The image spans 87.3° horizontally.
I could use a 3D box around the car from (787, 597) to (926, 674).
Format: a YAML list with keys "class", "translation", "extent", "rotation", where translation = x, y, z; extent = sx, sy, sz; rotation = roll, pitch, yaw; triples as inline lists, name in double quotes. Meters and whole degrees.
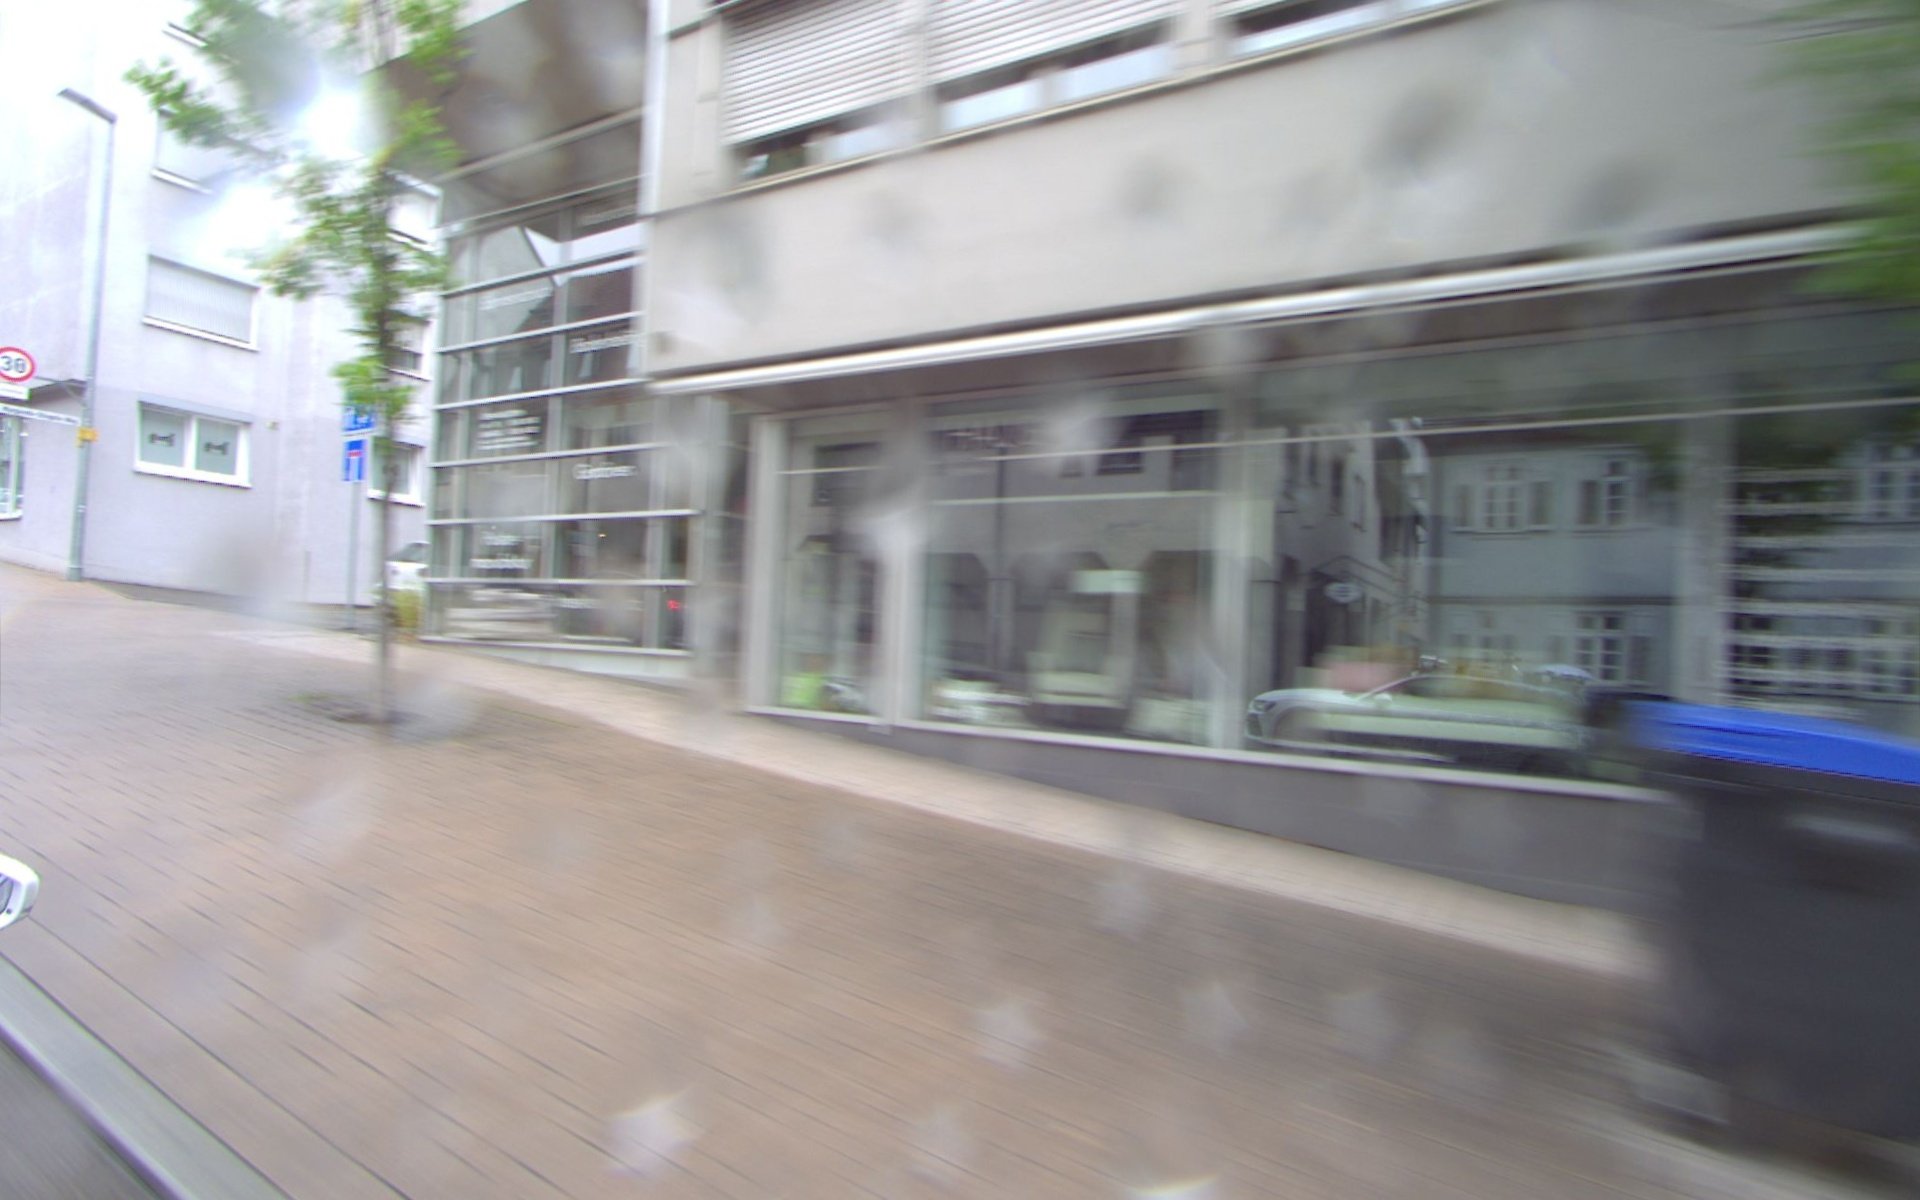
- class: "car"
  translation: [-2.646, 0.874, 26.549]
  extent: [1.675, 1.730, 3.762]
  rotation: [7, 4, 30]

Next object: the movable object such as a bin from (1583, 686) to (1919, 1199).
- class: "movable object such as a bin"
  translation: [2.797, 1.052, 3.277]
  extent: [1.153, 1.352, 1.235]
  rotation: [7, 2, 33]

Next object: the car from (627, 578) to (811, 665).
- class: "car"
  translation: [-5.129, 0.417, 21.850]
  extent: [1.675, 1.564, 3.762]
  rotation: [7, 4, 30]

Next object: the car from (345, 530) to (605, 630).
- class: "car"
  translation: [-8.364, -0.317, 17.654]
  extent: [1.714, 1.473, 3.763]
  rotation: [5, 2, 30]
